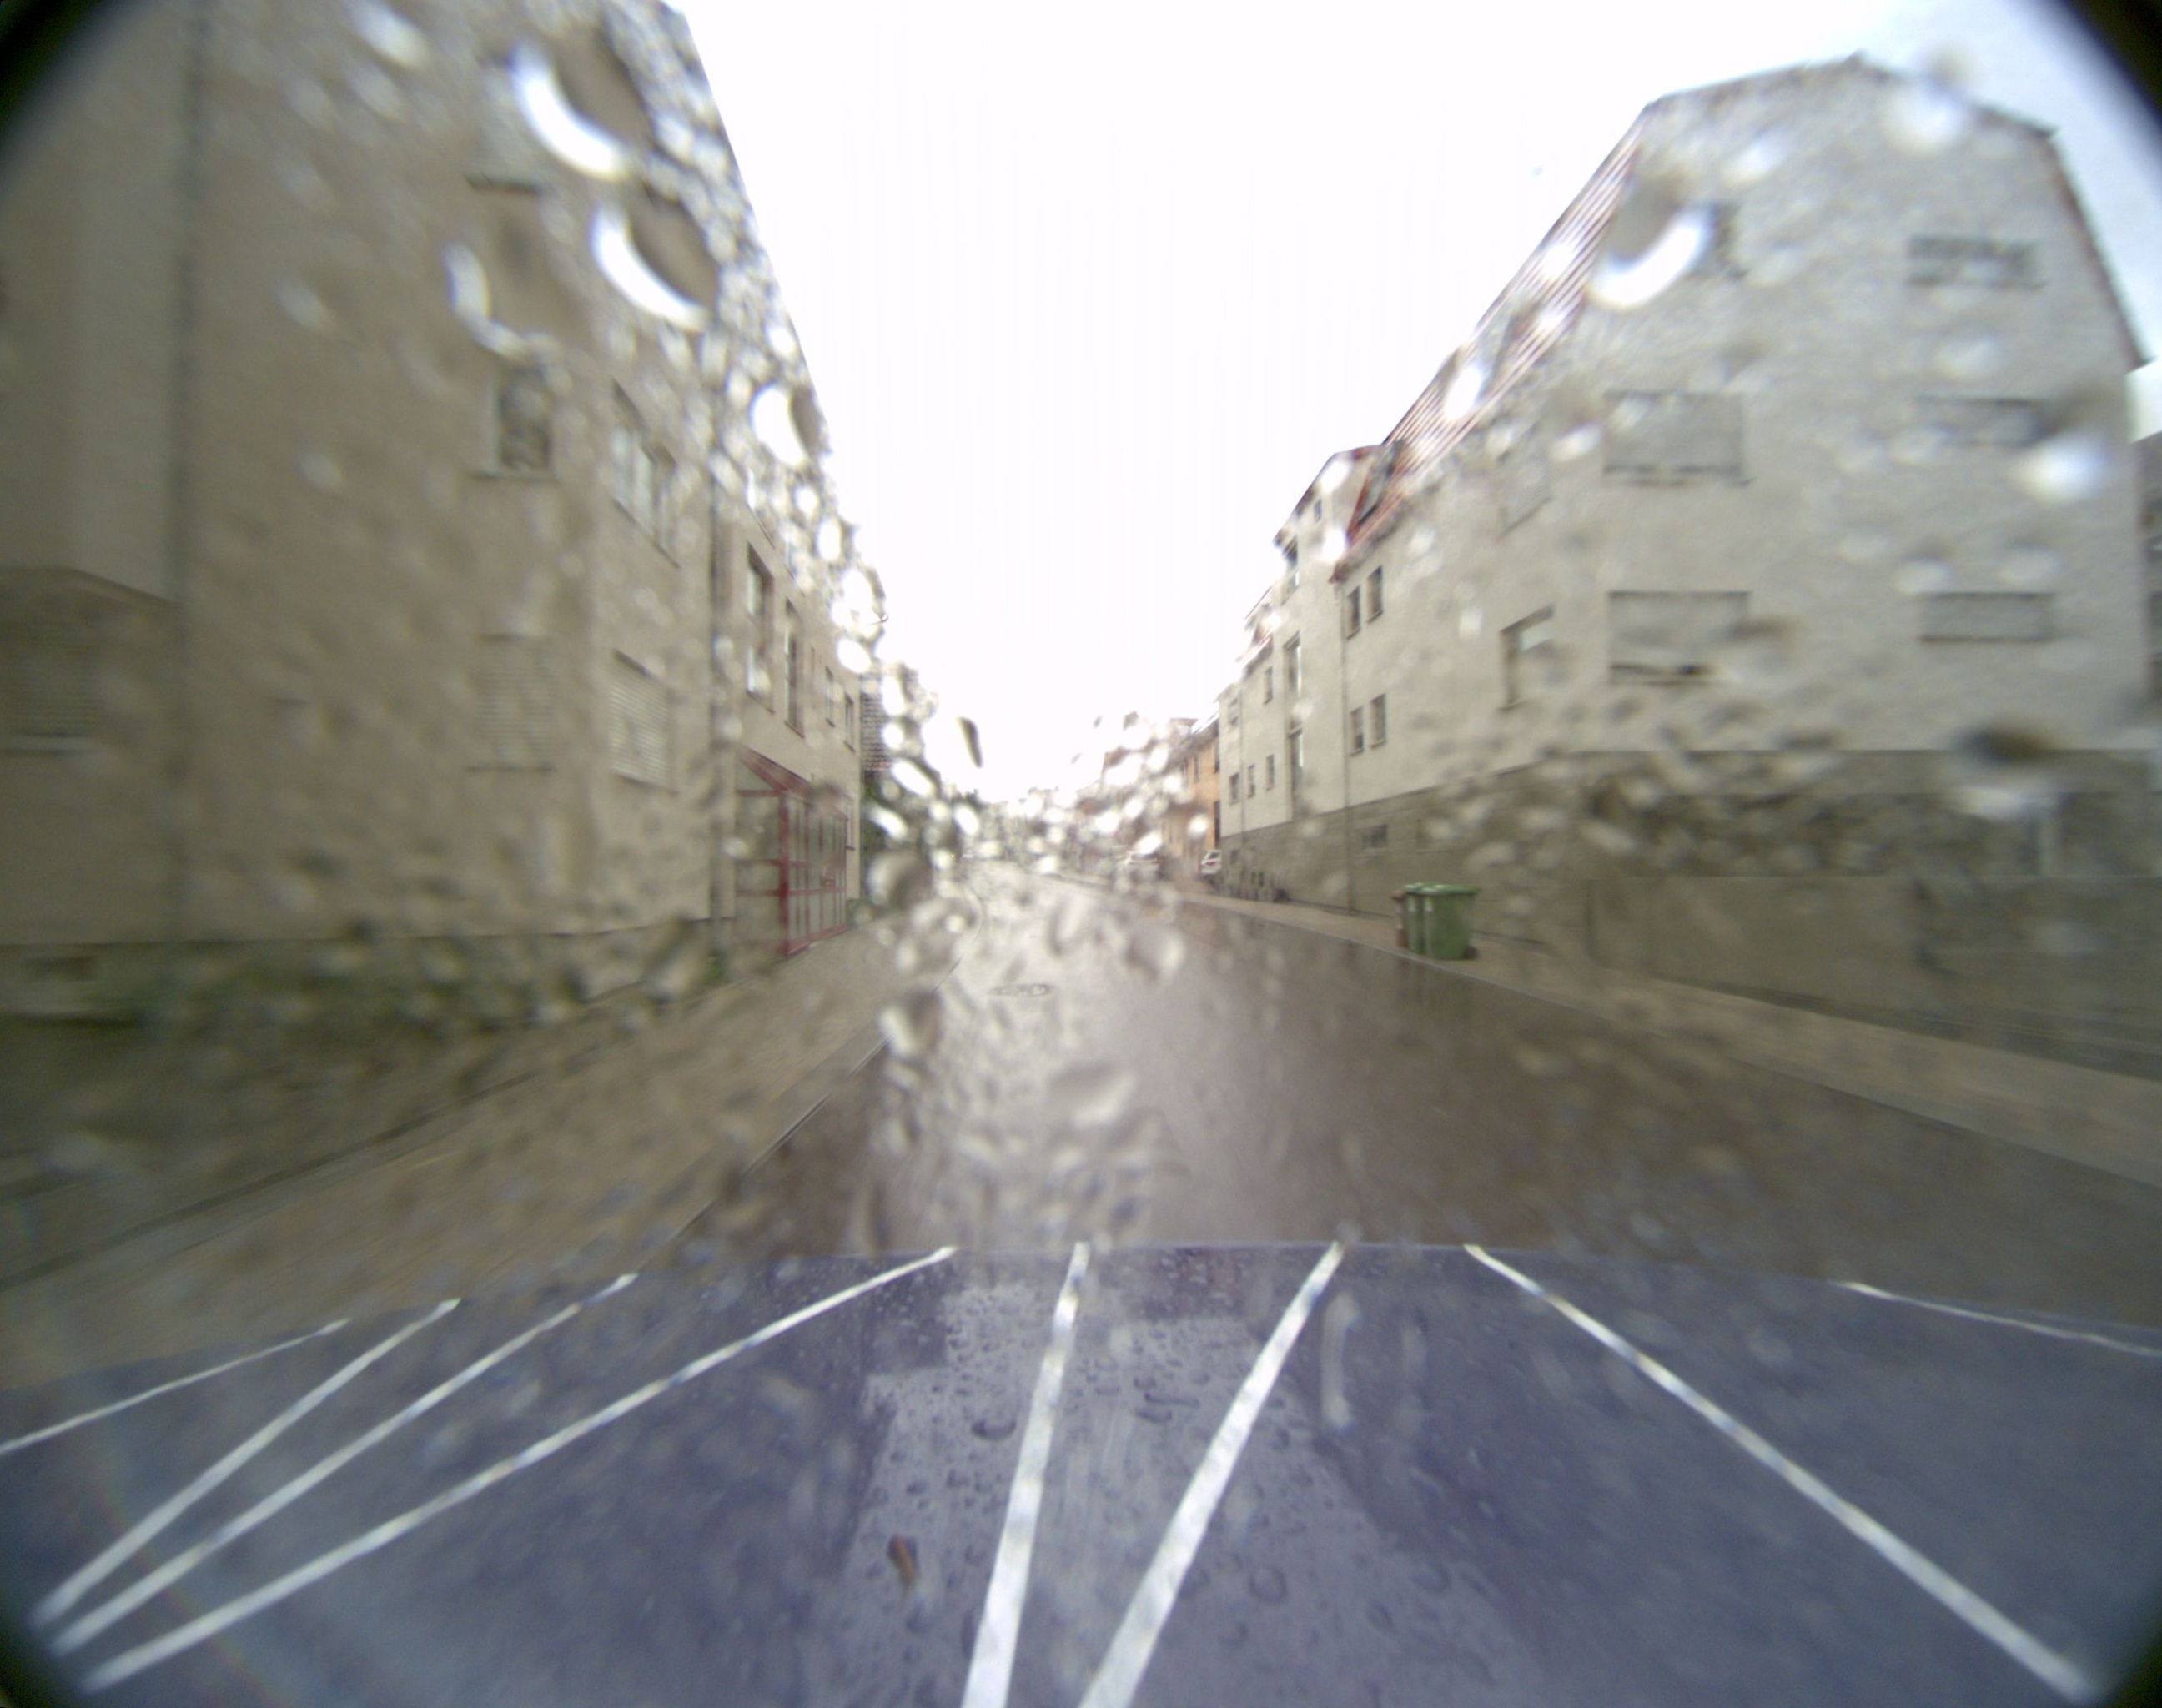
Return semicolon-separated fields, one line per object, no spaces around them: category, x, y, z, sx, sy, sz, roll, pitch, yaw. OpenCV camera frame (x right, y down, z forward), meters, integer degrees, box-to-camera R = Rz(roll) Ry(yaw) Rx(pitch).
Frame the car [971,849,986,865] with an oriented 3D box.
car;-12.946;0.376;95.952;1.829;1.964;4.512;0;1;-9

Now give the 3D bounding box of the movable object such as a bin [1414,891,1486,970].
movable object such as a bin;5.262;1.079;10.854;0.683;1.039;0.661;-2;1;-1

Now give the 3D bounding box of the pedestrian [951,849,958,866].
pedestrian;-12.329;0.343;74.267;0.656;1.572;0.436;1;1;-10

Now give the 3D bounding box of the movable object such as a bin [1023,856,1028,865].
movable object such as a bin;-6.182;0.729;84.300;0.522;1.020;0.414;-1;1;-9

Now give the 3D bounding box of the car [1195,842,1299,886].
car;7.258;0.424;33.458;3.999;1.660;1.877;-4;1;-8

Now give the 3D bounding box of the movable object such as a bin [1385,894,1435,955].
movable object such as a bin;5.293;1.126;12.247;0.507;0.917;0.579;-2;1;-3

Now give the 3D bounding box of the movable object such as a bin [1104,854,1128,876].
movable object such as a bin;2.214;0.673;47.960;1.290;1.360;0.995;0;0;-12

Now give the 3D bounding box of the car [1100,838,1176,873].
car;3.778;0.110;50.551;4.526;1.967;1.997;-4;0;-17

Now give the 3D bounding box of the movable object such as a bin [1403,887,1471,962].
movable object such as a bin;5.410;1.053;11.582;0.683;1.060;0.694;-2;1;-1

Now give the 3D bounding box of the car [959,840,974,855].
car;-16.748;-0.891;111.005;1.712;2.089;3.935;-2;1;-14

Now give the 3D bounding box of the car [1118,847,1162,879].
car;3.278;0.475;43.221;1.819;1.696;4.615;0;0;-5
